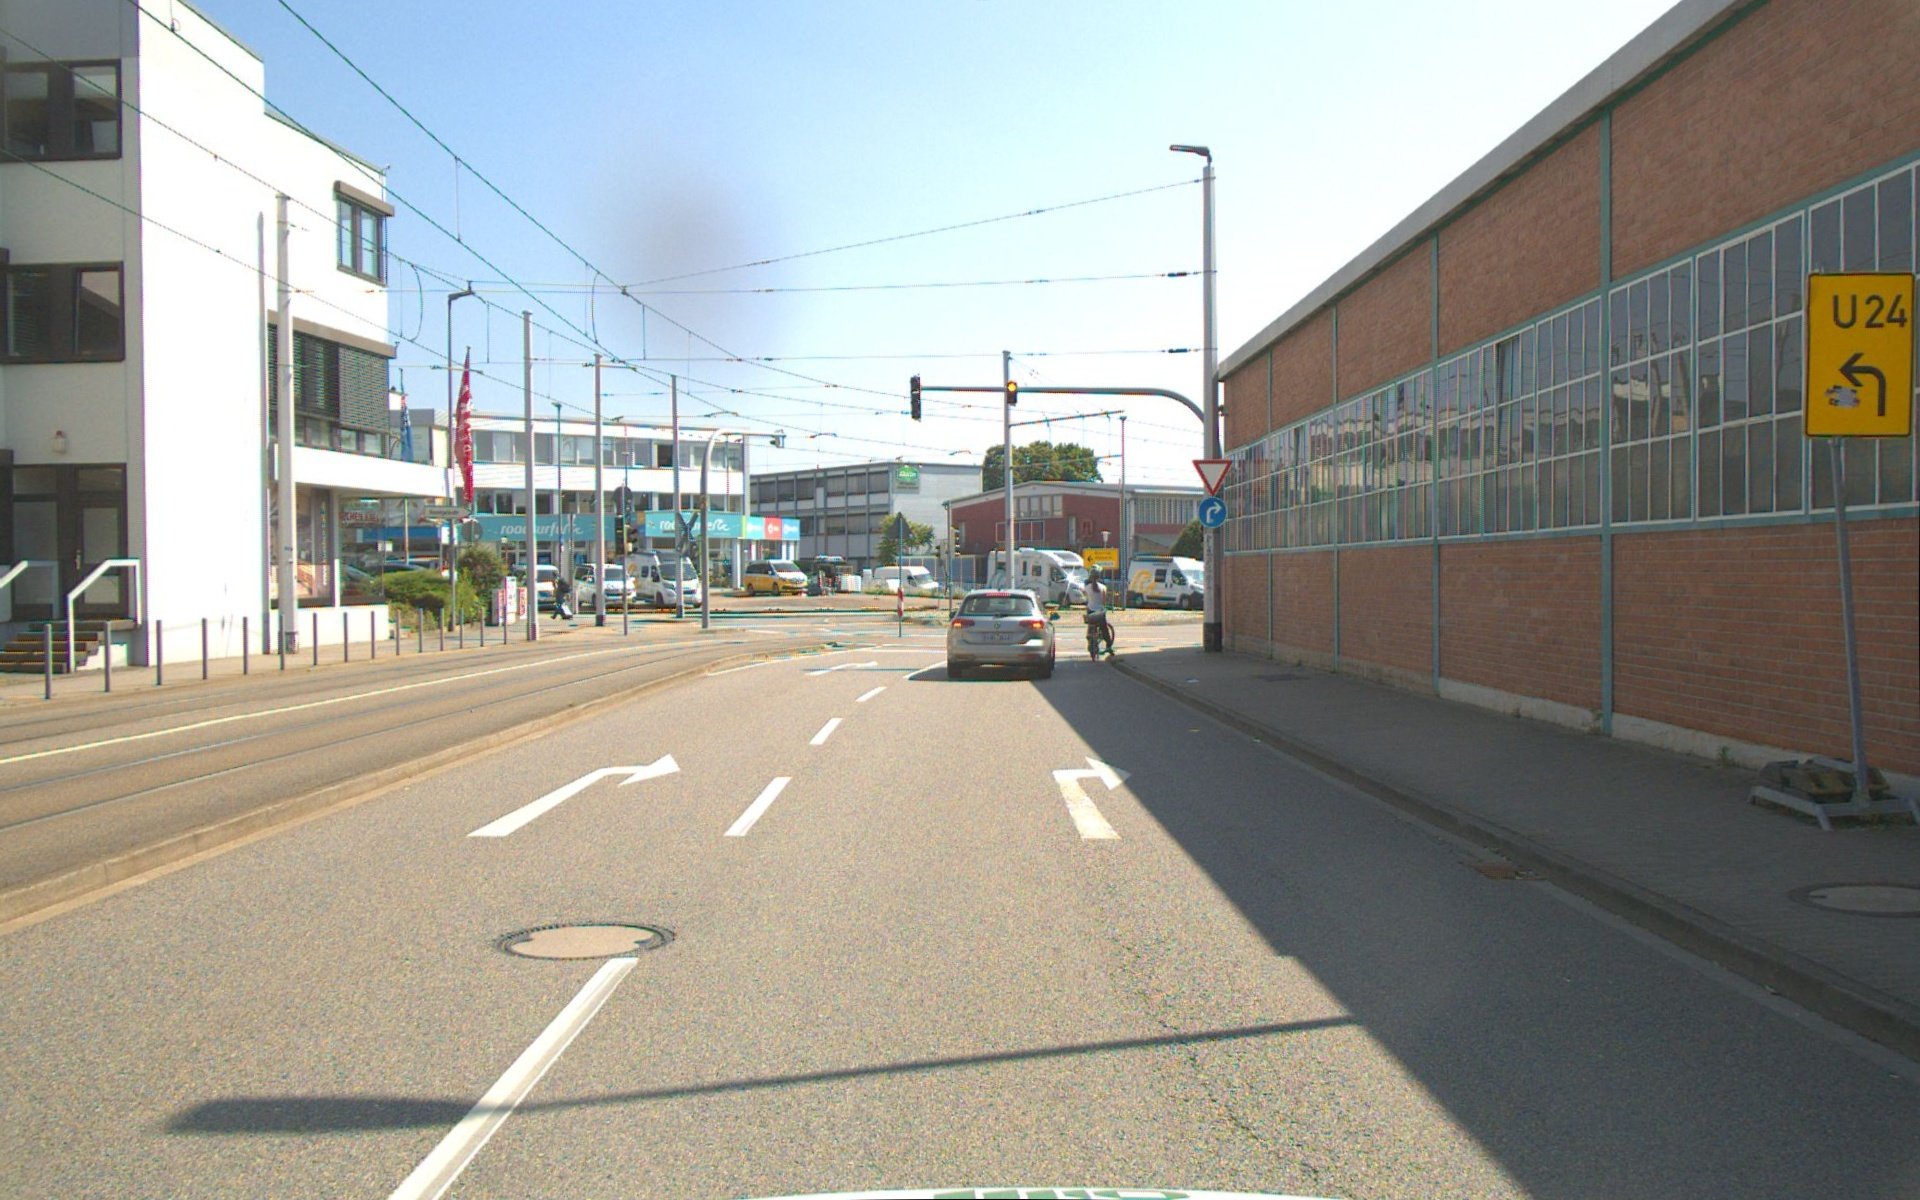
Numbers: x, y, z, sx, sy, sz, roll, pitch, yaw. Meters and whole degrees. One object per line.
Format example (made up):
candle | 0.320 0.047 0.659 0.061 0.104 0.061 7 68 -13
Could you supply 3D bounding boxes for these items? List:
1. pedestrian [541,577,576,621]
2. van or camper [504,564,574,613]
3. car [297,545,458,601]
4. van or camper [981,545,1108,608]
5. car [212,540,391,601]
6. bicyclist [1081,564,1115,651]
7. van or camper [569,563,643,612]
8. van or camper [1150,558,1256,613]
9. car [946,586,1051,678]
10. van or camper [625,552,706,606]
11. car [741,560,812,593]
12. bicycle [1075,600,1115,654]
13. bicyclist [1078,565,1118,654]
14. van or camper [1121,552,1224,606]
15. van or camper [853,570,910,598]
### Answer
pedestrian | -13.888 -0.044 57.220 1.109 1.480 0.836 -1 0 -9
van or camper | -19.545 -0.571 76.727 1.972 2.048 4.716 -2 3 -29
car | -16.894 -0.803 48.090 3.903 1.545 2.001 0 3 3
van or camper | 4.238 -1.256 84.081 2.334 2.981 6.881 -2 4 -41
car | -17.397 -0.767 43.810 3.903 1.590 2.001 0 0 3
bicyclist | 2.952 0.147 35.454 0.693 1.842 0.983 0 0 2
van or camper | -16.557 -0.641 77.158 1.972 2.048 4.962 -2 3 -29
van or camper | 13.016 -0.830 89.012 2.264 2.656 5.819 -2 3 -36
car | 0.736 0.502 28.998 1.710 1.484 4.002 0 0 3
van or camper | -14.034 -1.053 78.541 2.010 2.336 5.756 -2 3 -29
car | -10.271 -1.280 92.377 1.921 1.790 5.064 -1 1 -33
bicycle | 2.744 0.536 33.824 0.777 1.039 2.152 0 1 4
bicyclist | 2.782 0.183 33.441 0.769 1.752 1.147 0 0 3
van or camper | 10.897 -1.126 85.238 2.264 2.482 5.320 -2 5 -36
van or camper | -5.623 -1.167 118.791 3.932 1.982 1.986 0 1 44
